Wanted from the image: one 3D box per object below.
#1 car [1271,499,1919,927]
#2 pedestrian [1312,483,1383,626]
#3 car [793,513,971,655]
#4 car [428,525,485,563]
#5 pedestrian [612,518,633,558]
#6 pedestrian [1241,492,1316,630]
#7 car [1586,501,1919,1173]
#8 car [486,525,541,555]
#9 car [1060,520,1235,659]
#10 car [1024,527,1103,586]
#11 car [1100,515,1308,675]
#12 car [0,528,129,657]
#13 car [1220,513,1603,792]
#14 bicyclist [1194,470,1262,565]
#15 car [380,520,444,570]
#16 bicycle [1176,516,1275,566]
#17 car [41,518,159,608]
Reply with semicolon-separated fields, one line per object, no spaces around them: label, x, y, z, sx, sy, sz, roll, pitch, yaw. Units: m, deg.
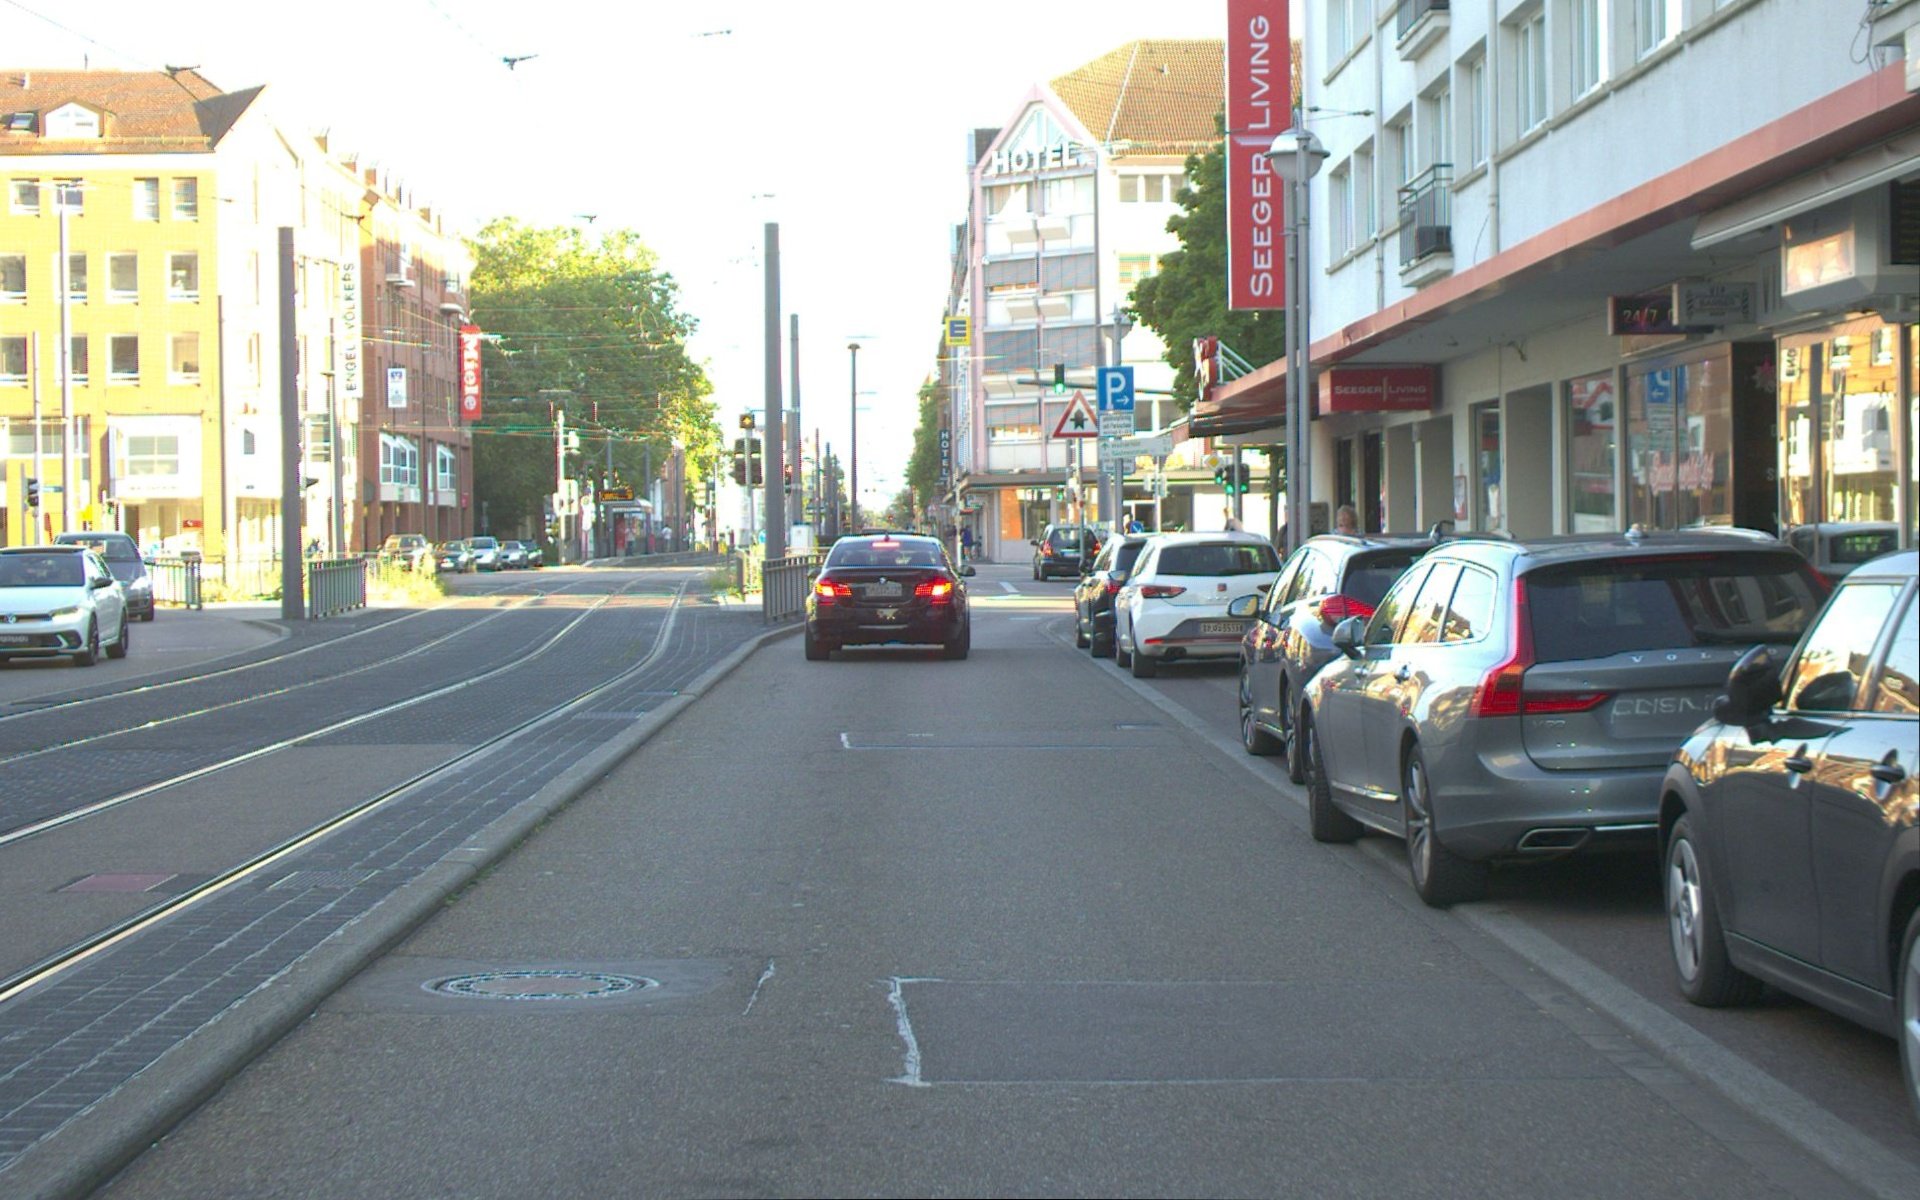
car;2.566;0.360;14.964;1.789;1.507;4.712;-2;1;-2
pedestrian;4.831;-0.573;42.856;0.728;1.735;0.863;-2;1;0
car;-0.923;-0.230;40.887;1.993;1.579;4.000;-1;1;-1
car;-21.383;-2.396;146.095;1.993;1.579;4.588;-1;1;-3
pedestrian;-17.165;-3.169;174.870;0.988;2.007;0.726;1;1;-2
pedestrian;4.054;-0.503;43.812;0.827;1.712;0.843;-2;1;0
car;2.985;0.479;9.537;1.685;1.507;4.035;-2;1;0
car;-22.233;-2.981;171.156;1.670;1.443;4.201;0;1;8
car;2.171;-0.173;40.925;1.735;1.507;4.686;-2;1;0
car;2.840;-1.208;94.768;1.993;1.546;4.000;-1;1;-1
car;2.469;-0.099;35.633;1.785;1.507;4.052;-2;1;0
car;-11.476;-0.129;42.939;1.806;1.507;4.036;-1;1;-9
car;2.690;0.243;21.394;1.735;1.507;4.304;-2;1;0
bicyclist;5.449;-1.678;69.999;0.838;1.910;1.114;-1;2;-38
car;-21.522;-2.172;135.241;1.993;1.895;4.812;-1;1;-3
bicycle;5.398;-1.206;70.057;0.838;1.016;2.077;-1;2;-38
car;-15.139;-0.680;60.665;1.735;1.507;4.036;-1;1;-10
